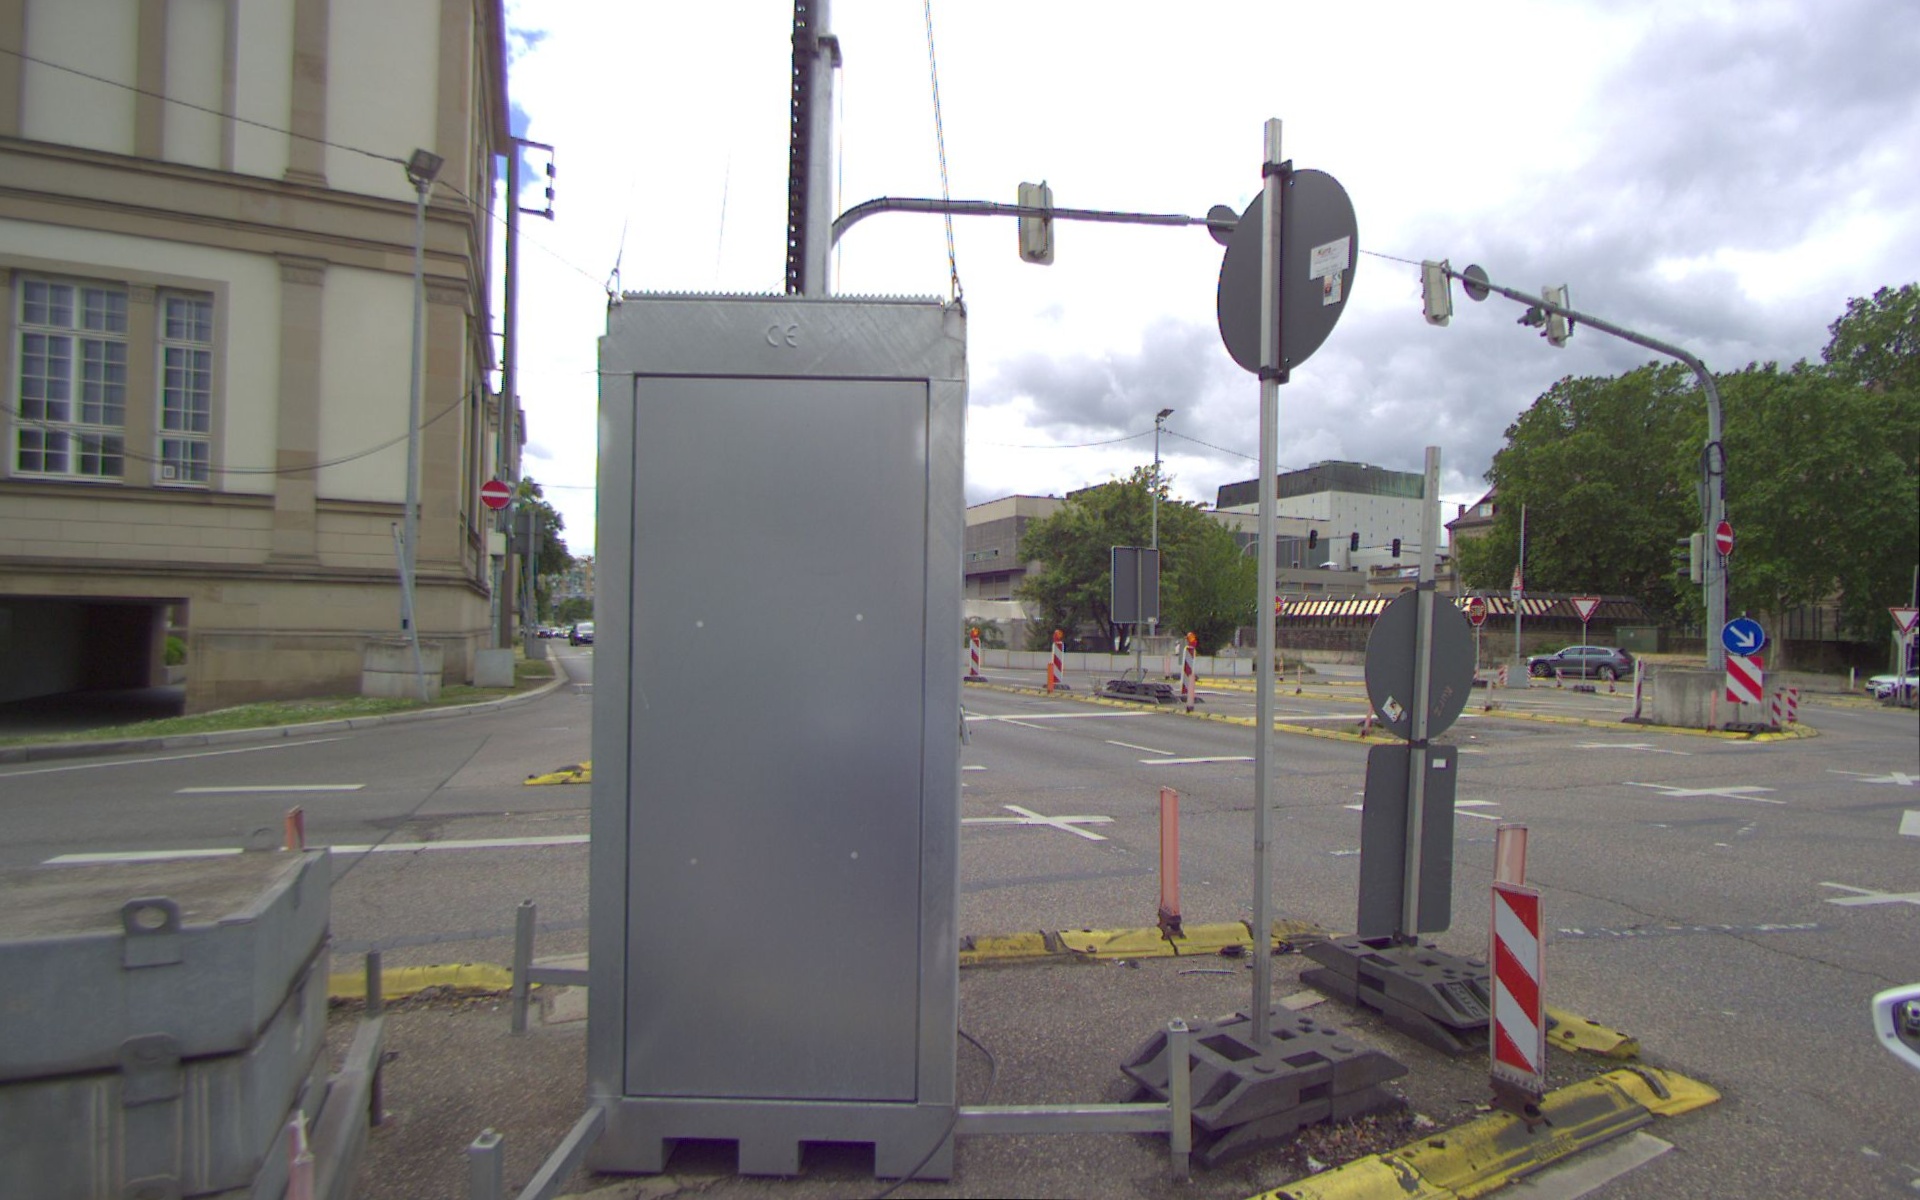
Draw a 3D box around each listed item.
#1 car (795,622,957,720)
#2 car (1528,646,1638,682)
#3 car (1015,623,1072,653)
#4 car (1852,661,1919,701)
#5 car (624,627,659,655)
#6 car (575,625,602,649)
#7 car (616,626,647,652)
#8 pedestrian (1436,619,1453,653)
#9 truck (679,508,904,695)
[{"bbox_3d":[-1.686,1.234,18.657,1.746,1.524,4.108,2,-1,-23],"label":"car"},{"bbox_3d":[31.573,3.200,50.985,1.817,1.588,4.420,2,-1,-44],"label":"car"},{"bbox_3d":[6.758,3.105,82.309,2.552,2.405,5.500,1,-2,-21],"label":"car"},{"bbox_3d":[42.239,3.614,44.078,4.244,1.588,1.757,2,-1,16],"label":"car"},{"bbox_3d":[-17.376,2.222,54.713,1.568,1.445,3.625,3,-3,-21],"label":"car"},{"bbox_3d":[-24.584,2.452,66.403,1.588,1.498,3.625,3,-3,-21],"label":"car"},{"bbox_3d":[-20.150,2.397,61.555,1.588,1.498,3.625,3,-3,-21],"label":"car"},{"bbox_3d":[29.622,2.192,61.399,0.837,2.040,0.621,0,-3,35],"label":"pedestrian"},{"bbox_3d":[-5.884,0.213,30.372,2.886,4.137,16.521,1,-1,-23],"label":"truck"}]
